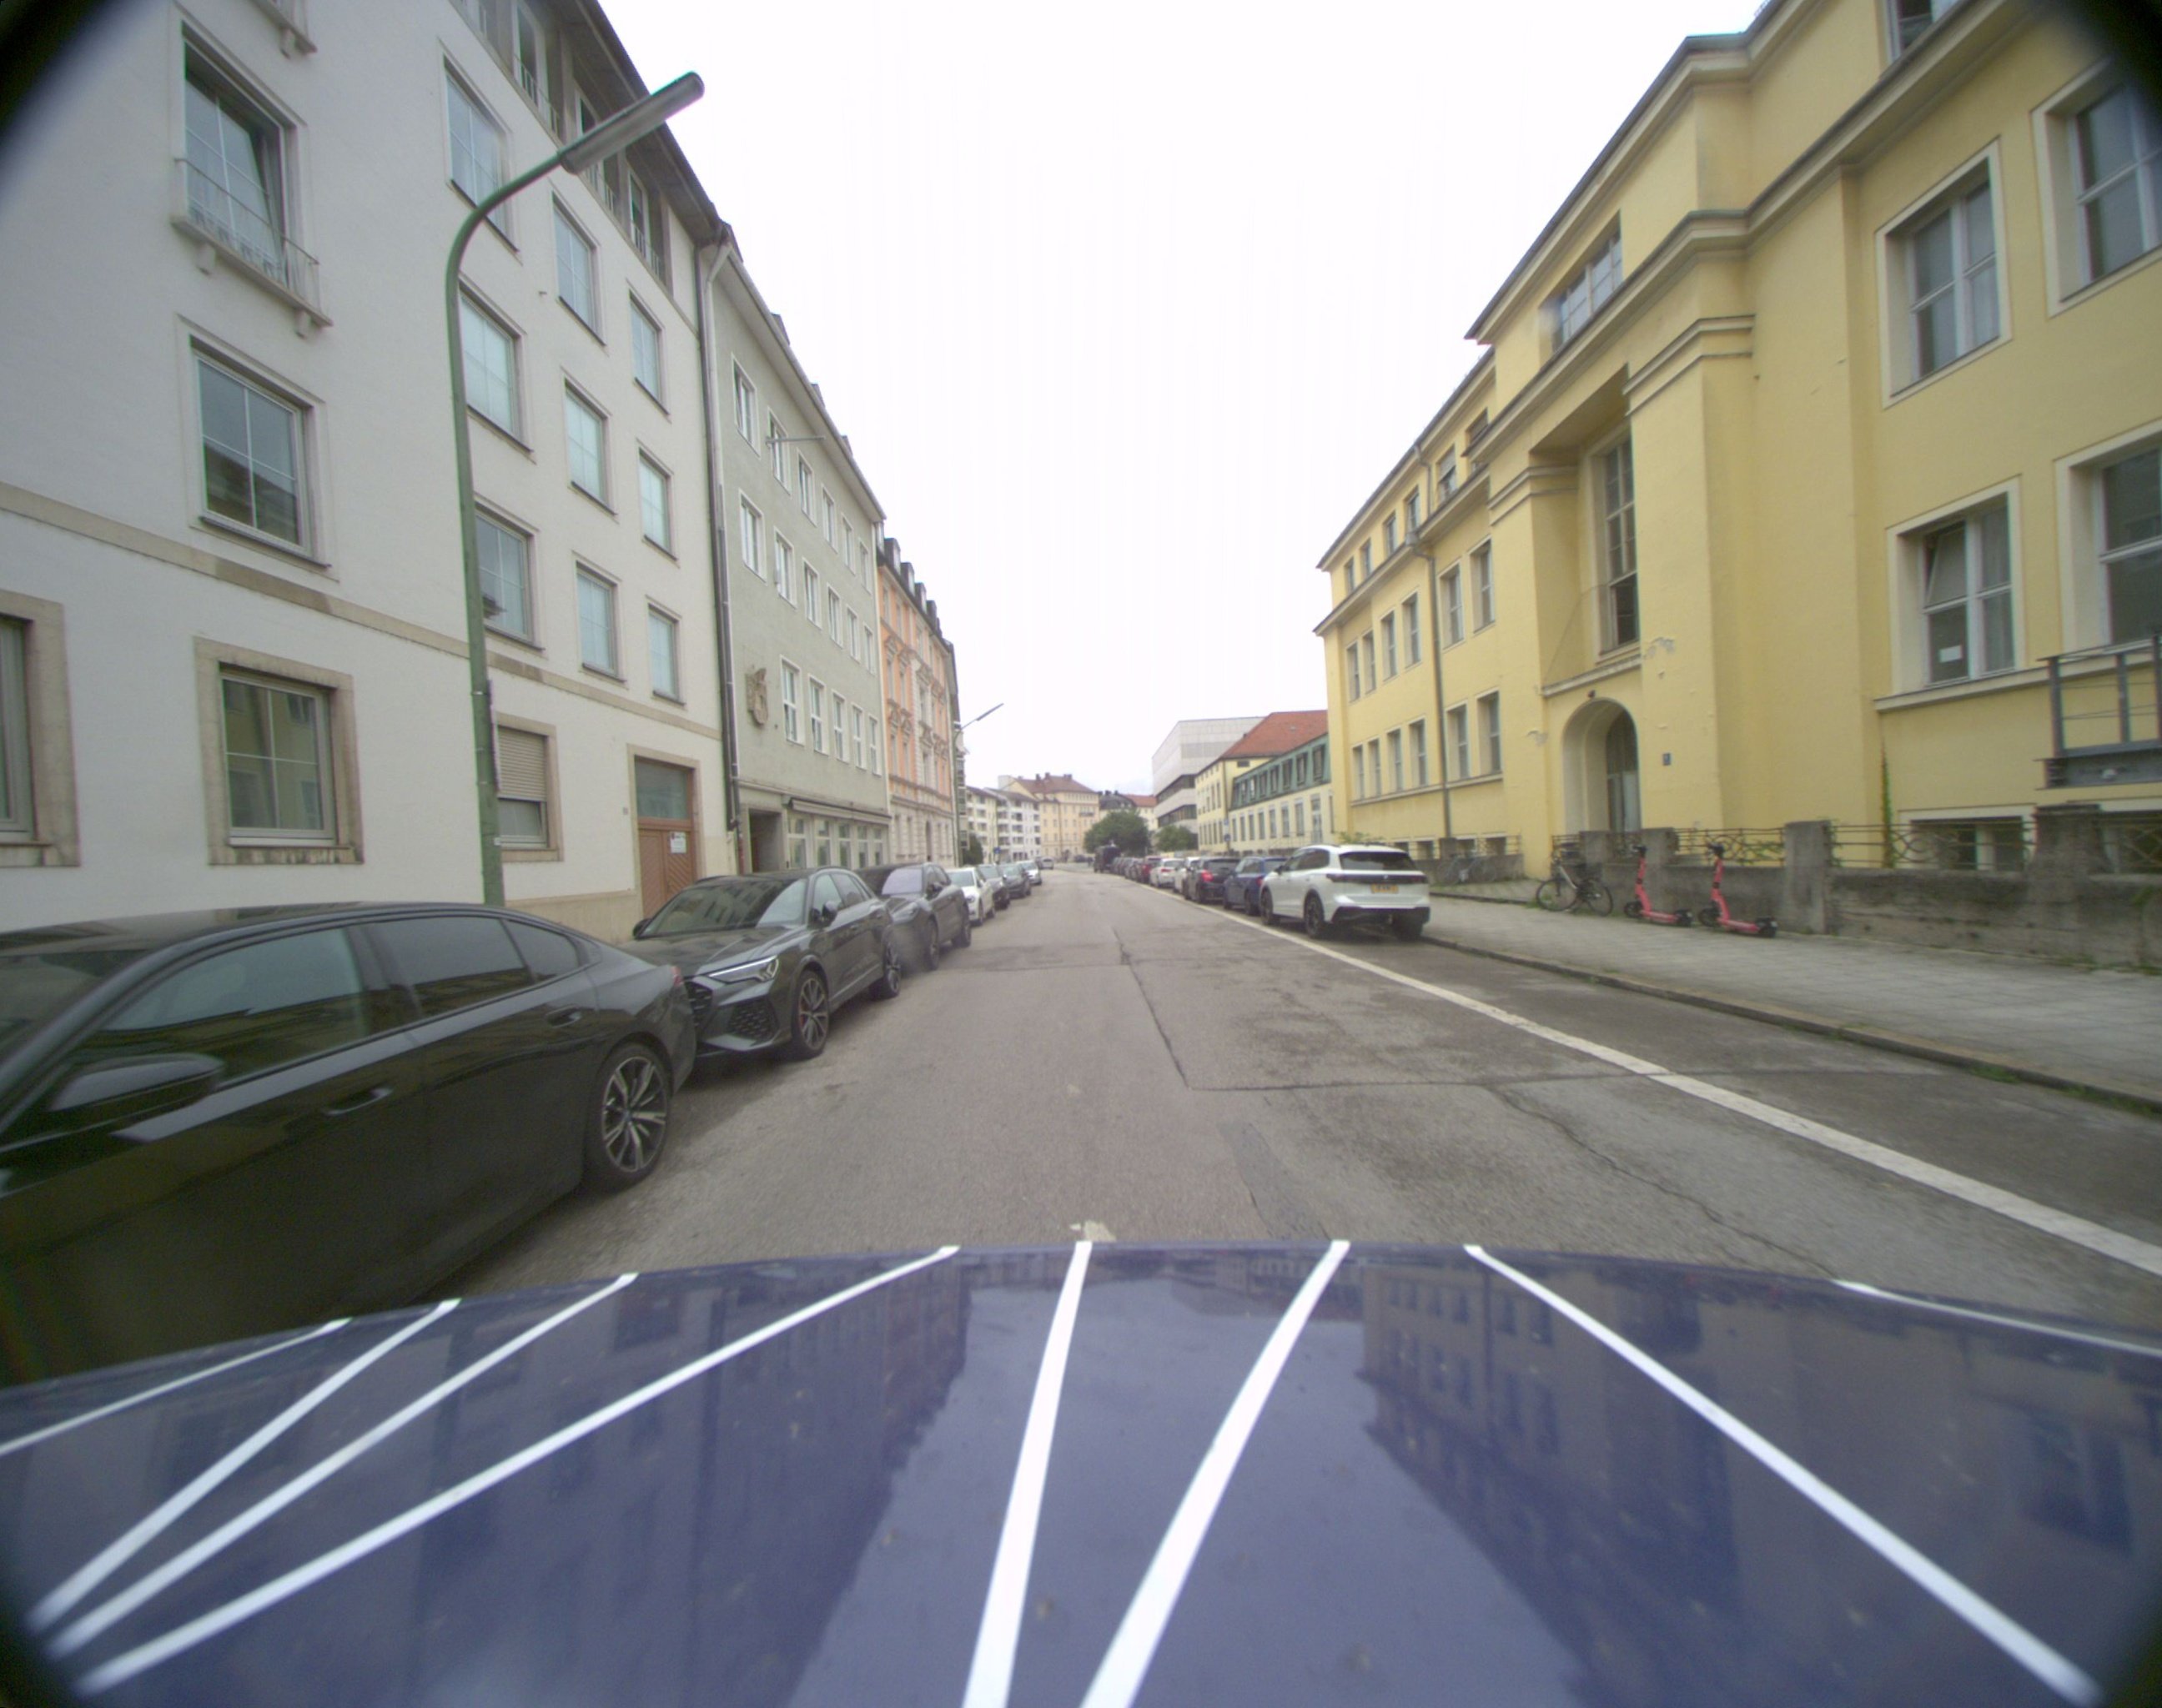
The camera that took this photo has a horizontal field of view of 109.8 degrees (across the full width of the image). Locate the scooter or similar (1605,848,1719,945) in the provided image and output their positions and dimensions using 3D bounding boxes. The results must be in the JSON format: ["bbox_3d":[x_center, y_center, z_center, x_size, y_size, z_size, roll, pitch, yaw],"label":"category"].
[{"bbox_3d":[8.839,0.607,11.627,0.561,1.361,1.501,-2,0,0],"label":"scooter or similar"}]

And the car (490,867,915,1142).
[{"bbox_3d":[-3.028,1.044,7.386,1.649,1.580,4.634,-6,0,0],"label":"car"}]

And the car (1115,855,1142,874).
[{"bbox_3d":[4.253,0.941,68.146,1.919,1.578,4.351,0,-1,-3],"label":"car"}]

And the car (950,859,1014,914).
[{"bbox_3d":[-3.261,1.034,25.764,1.711,1.583,4.360,-4,0,-3],"label":"car"}]

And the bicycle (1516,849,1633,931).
[{"bbox_3d":[8.778,0.597,13.643,0.682,1.321,2.113,-3,1,0],"label":"bicycle"}]

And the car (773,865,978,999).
[{"bbox_3d":[-2.993,1.056,12.255,1.844,1.513,4.709,-4,0,1],"label":"car"}]

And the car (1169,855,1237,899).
[{"bbox_3d":[4.652,0.835,29.621,1.789,1.423,4.651,-3,0,0],"label":"car"}]

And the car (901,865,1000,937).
[{"bbox_3d":[-3.210,1.113,19.569,1.677,1.421,4.529,-4,0,0],"label":"car"}]

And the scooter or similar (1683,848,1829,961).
[{"bbox_3d":[8.881,0.618,10.076,0.561,1.361,1.501,-2,0,0],"label":"scooter or similar"}]

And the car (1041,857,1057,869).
[{"bbox_3d":[-5.012,1.412,117.730,1.921,1.837,5.319,-2,-1,-7],"label":"car"}]

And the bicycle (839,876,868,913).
[{"bbox_3d":[-7.756,1.355,25.939,0.385,1.151,1.949,-3,0,-1],"label":"bicycle"}]

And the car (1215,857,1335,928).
[{"bbox_3d":[4.742,0.874,19.281,1.708,1.493,4.494,2,0,-2],"label":"car"}]

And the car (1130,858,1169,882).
[{"bbox_3d":[4.214,0.939,47.547,1.754,1.397,4.353,0,0,-4],"label":"car"}]

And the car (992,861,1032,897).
[{"bbox_3d":[-3.332,1.182,37.470,1.692,1.491,4.146,-5,0,-3],"label":"car"}]

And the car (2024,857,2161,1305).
[{"bbox_3d":[4.793,0.812,0.688,1.794,1.577,4.817,0,0,-2],"label":"car"}]

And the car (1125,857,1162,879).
[{"bbox_3d":[4.274,0.954,52.587,2.020,1.410,4.614,0,1,-2],"label":"car"}]

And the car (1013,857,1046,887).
[{"bbox_3d":[-3.304,1.122,48.230,1.686,1.663,3.801,-5,0,-8],"label":"car"}]

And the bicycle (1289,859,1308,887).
[{"bbox_3d":[9.097,0.781,31.764,0.538,1.056,1.641,-3,1,10],"label":"bicycle"}]

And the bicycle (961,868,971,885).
[{"bbox_3d":[-7.895,1.522,52.224,0.531,1.065,1.999,-3,0,-10],"label":"bicycle"}]

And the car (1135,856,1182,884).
[{"bbox_3d":[4.318,0.849,42.888,1.963,1.473,4.528,0,0,-3],"label":"car"}]

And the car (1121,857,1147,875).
[{"bbox_3d":[4.368,0.977,63.384,1.918,1.473,4.531,0,0,0],"label":"car"}]

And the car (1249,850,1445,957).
[{"bbox_3d":[4.705,0.772,14.313,1.750,1.624,4.855,-1,0,-3],"label":"car"}]

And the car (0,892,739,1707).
[{"bbox_3d":[-3.102,1.078,2.132,1.807,1.476,5.319,-6,0,-1],"label":"car"}]

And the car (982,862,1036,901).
[{"bbox_3d":[-3.000,1.106,32.431,1.692,1.394,4.363,-3,0,1],"label":"car"}]

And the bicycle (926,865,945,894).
[{"bbox_3d":[-7.234,1.262,37.826,0.597,1.377,2.091,-2,0,-4],"label":"bicycle"}]

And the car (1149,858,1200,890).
[{"bbox_3d":[4.504,0.924,37.201,1.799,1.421,4.663,0,0,-2],"label":"car"}]

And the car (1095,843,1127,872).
[{"bbox_3d":[3.035,0.331,79.156,2.220,2.837,6.192,-1,0,-8],"label":"car"}]

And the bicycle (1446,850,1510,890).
[{"bbox_3d":[11.381,0.453,21.788,1.662,1.044,0.425,-2,0,-7],"label":"bicycle"}]

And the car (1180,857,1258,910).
[{"bbox_3d":[4.323,0.884,24.387,1.703,1.488,4.148,1,0,0],"label":"car"}]
